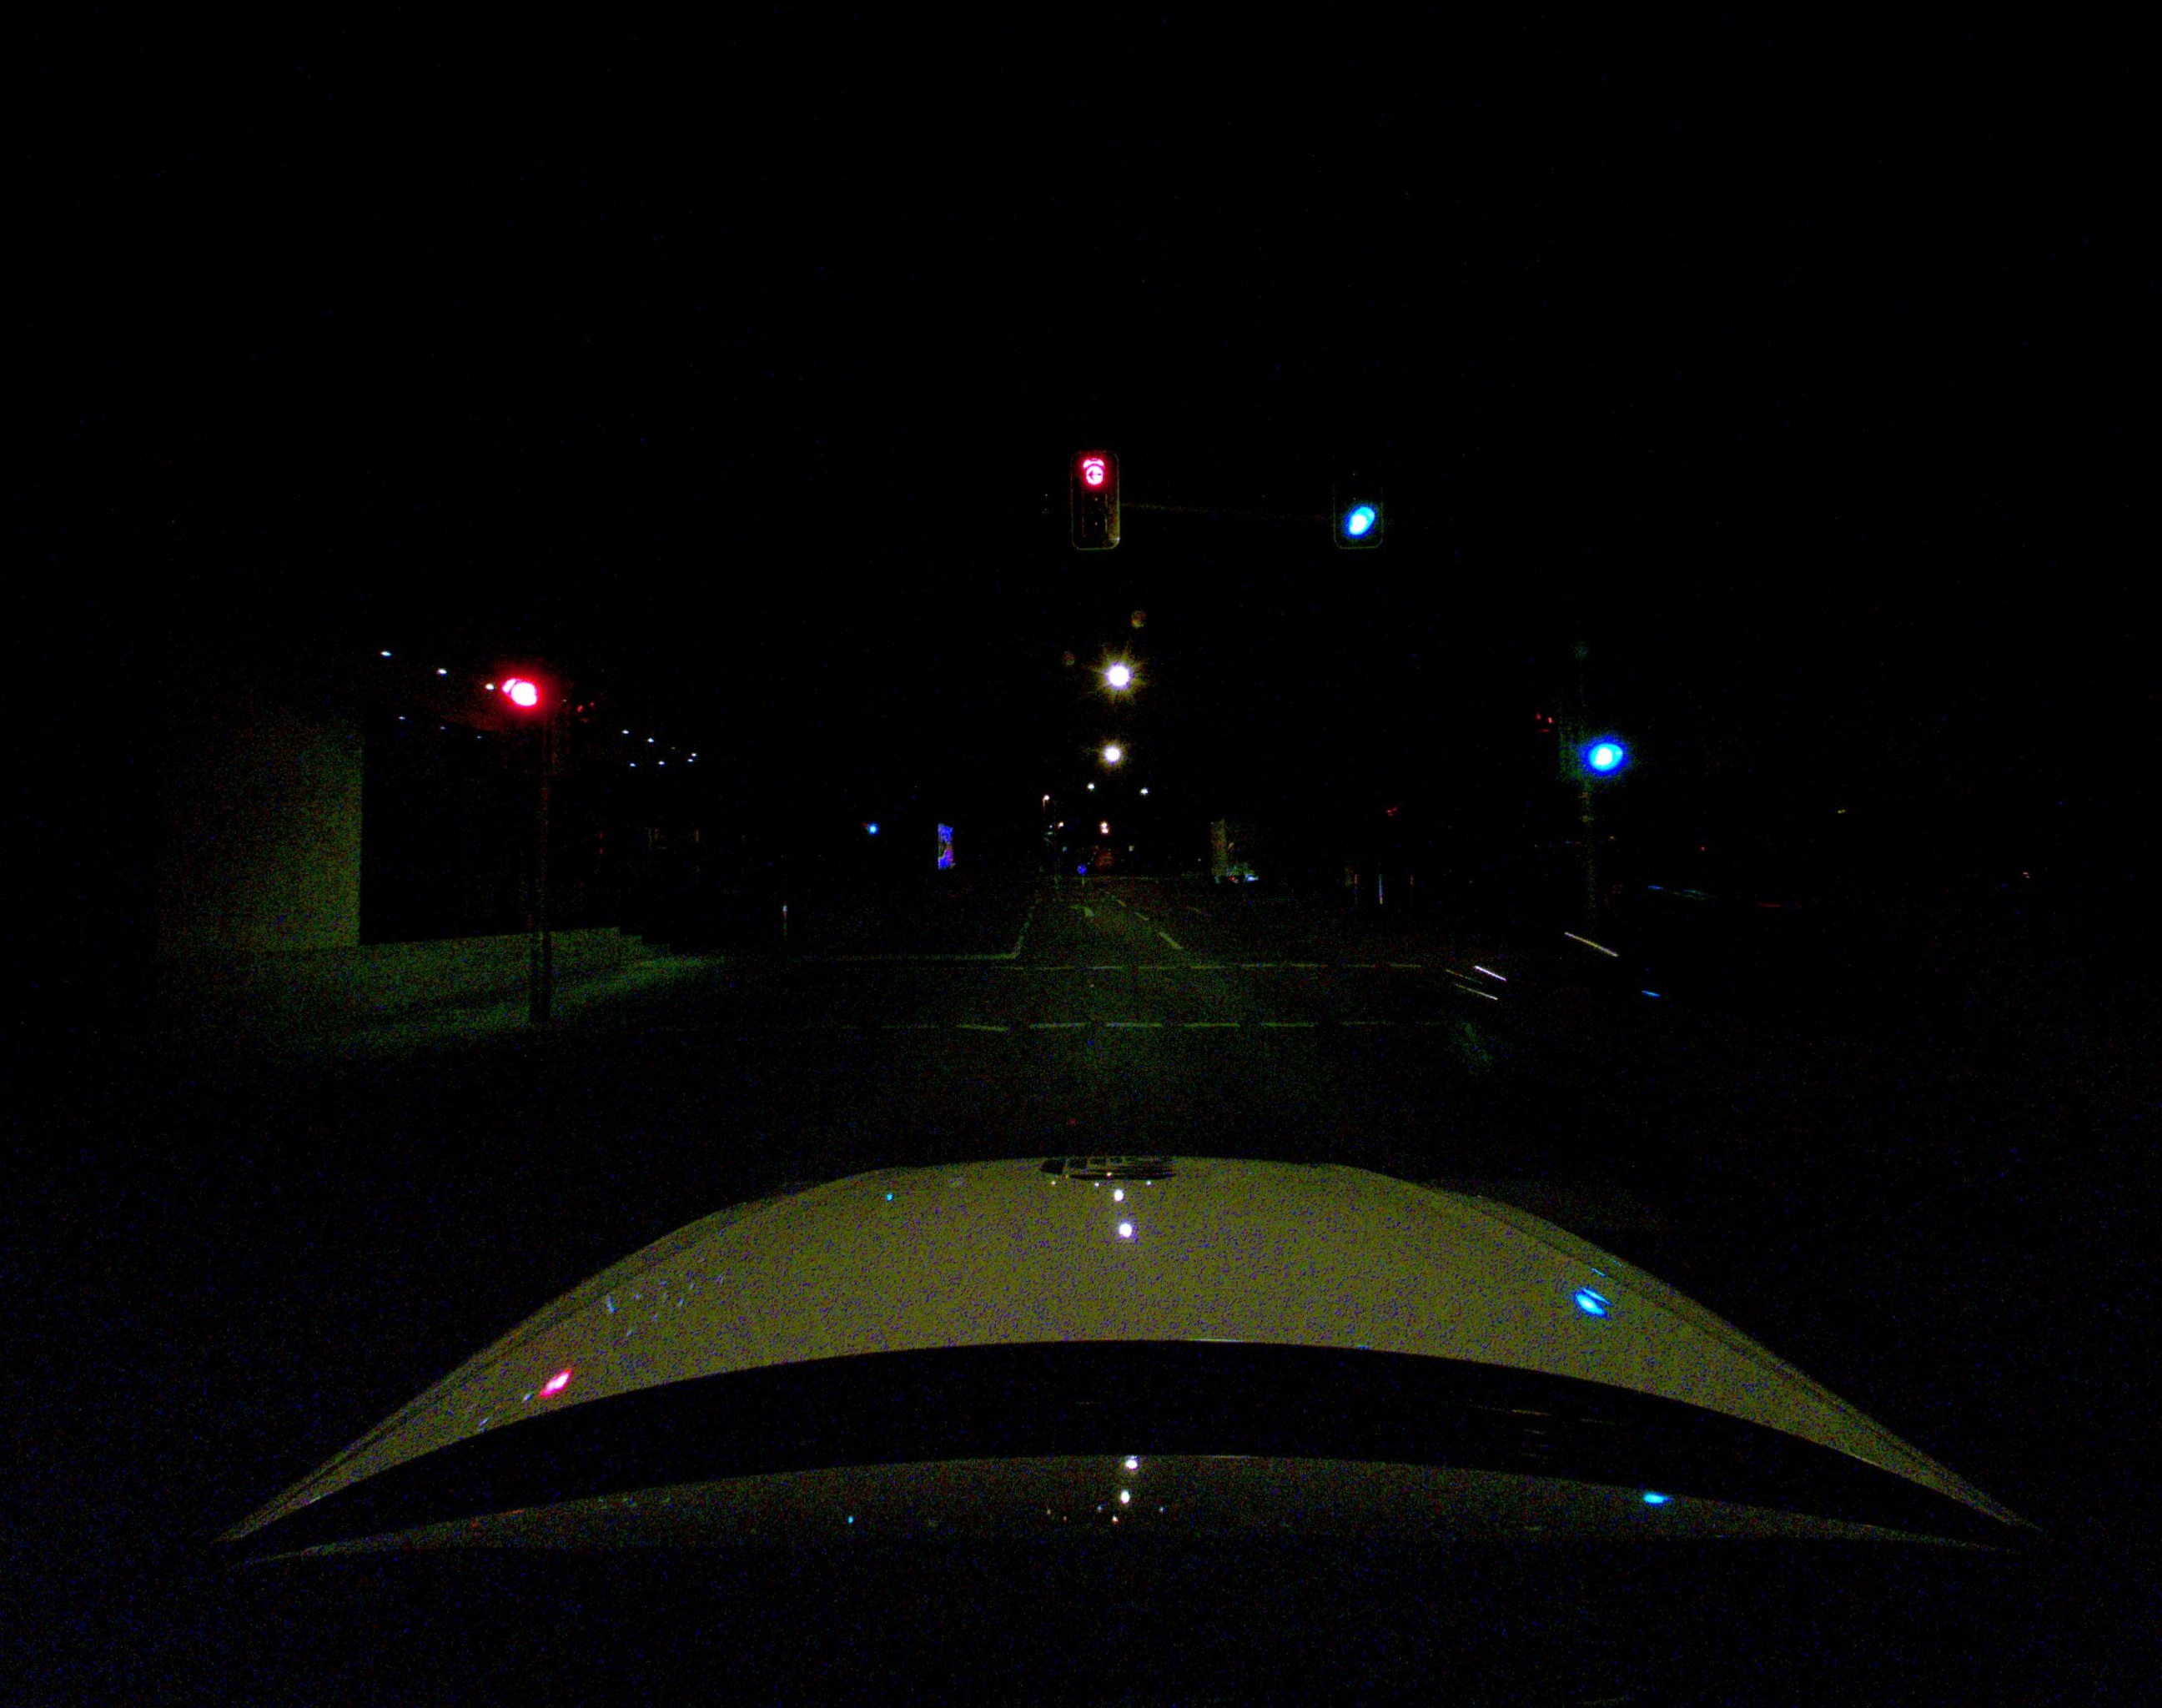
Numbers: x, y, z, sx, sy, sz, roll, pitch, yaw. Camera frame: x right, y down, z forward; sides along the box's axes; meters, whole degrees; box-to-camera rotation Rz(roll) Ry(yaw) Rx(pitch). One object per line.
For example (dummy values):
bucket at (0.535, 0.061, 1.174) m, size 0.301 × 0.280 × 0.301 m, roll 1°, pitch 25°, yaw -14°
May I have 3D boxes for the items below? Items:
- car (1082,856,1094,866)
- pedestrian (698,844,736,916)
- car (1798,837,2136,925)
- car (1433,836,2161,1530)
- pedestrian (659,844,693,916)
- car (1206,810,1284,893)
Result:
car at (1.235, 1.170, 134.449) m, size 1.901 × 1.557 × 3.906 m, roll 0°, pitch -1°, yaw 2°
pedestrian at (-9.197, 0.639, 20.601) m, size 0.568 × 1.778 × 0.737 m, roll 1°, pitch -1°, yaw 1°
car at (17.456, 0.564, 16.283) m, size 4.342 × 1.560 × 1.807 m, roll -2°, pitch -3°, yaw 8°
car at (3.188, 0.711, 3.301) m, size 1.770 × 1.486 × 3.999 m, roll 0°, pitch -1°, yaw 0°
pedestrian at (-9.980, 0.638, 20.080) m, size 0.568 × 1.731 × 0.544 m, roll 0°, pitch -1°, yaw 1°
car at (6.761, -0.083, 34.220) m, size 2.287 × 3.093 × 5.845 m, roll -2°, pitch -1°, yaw 3°
